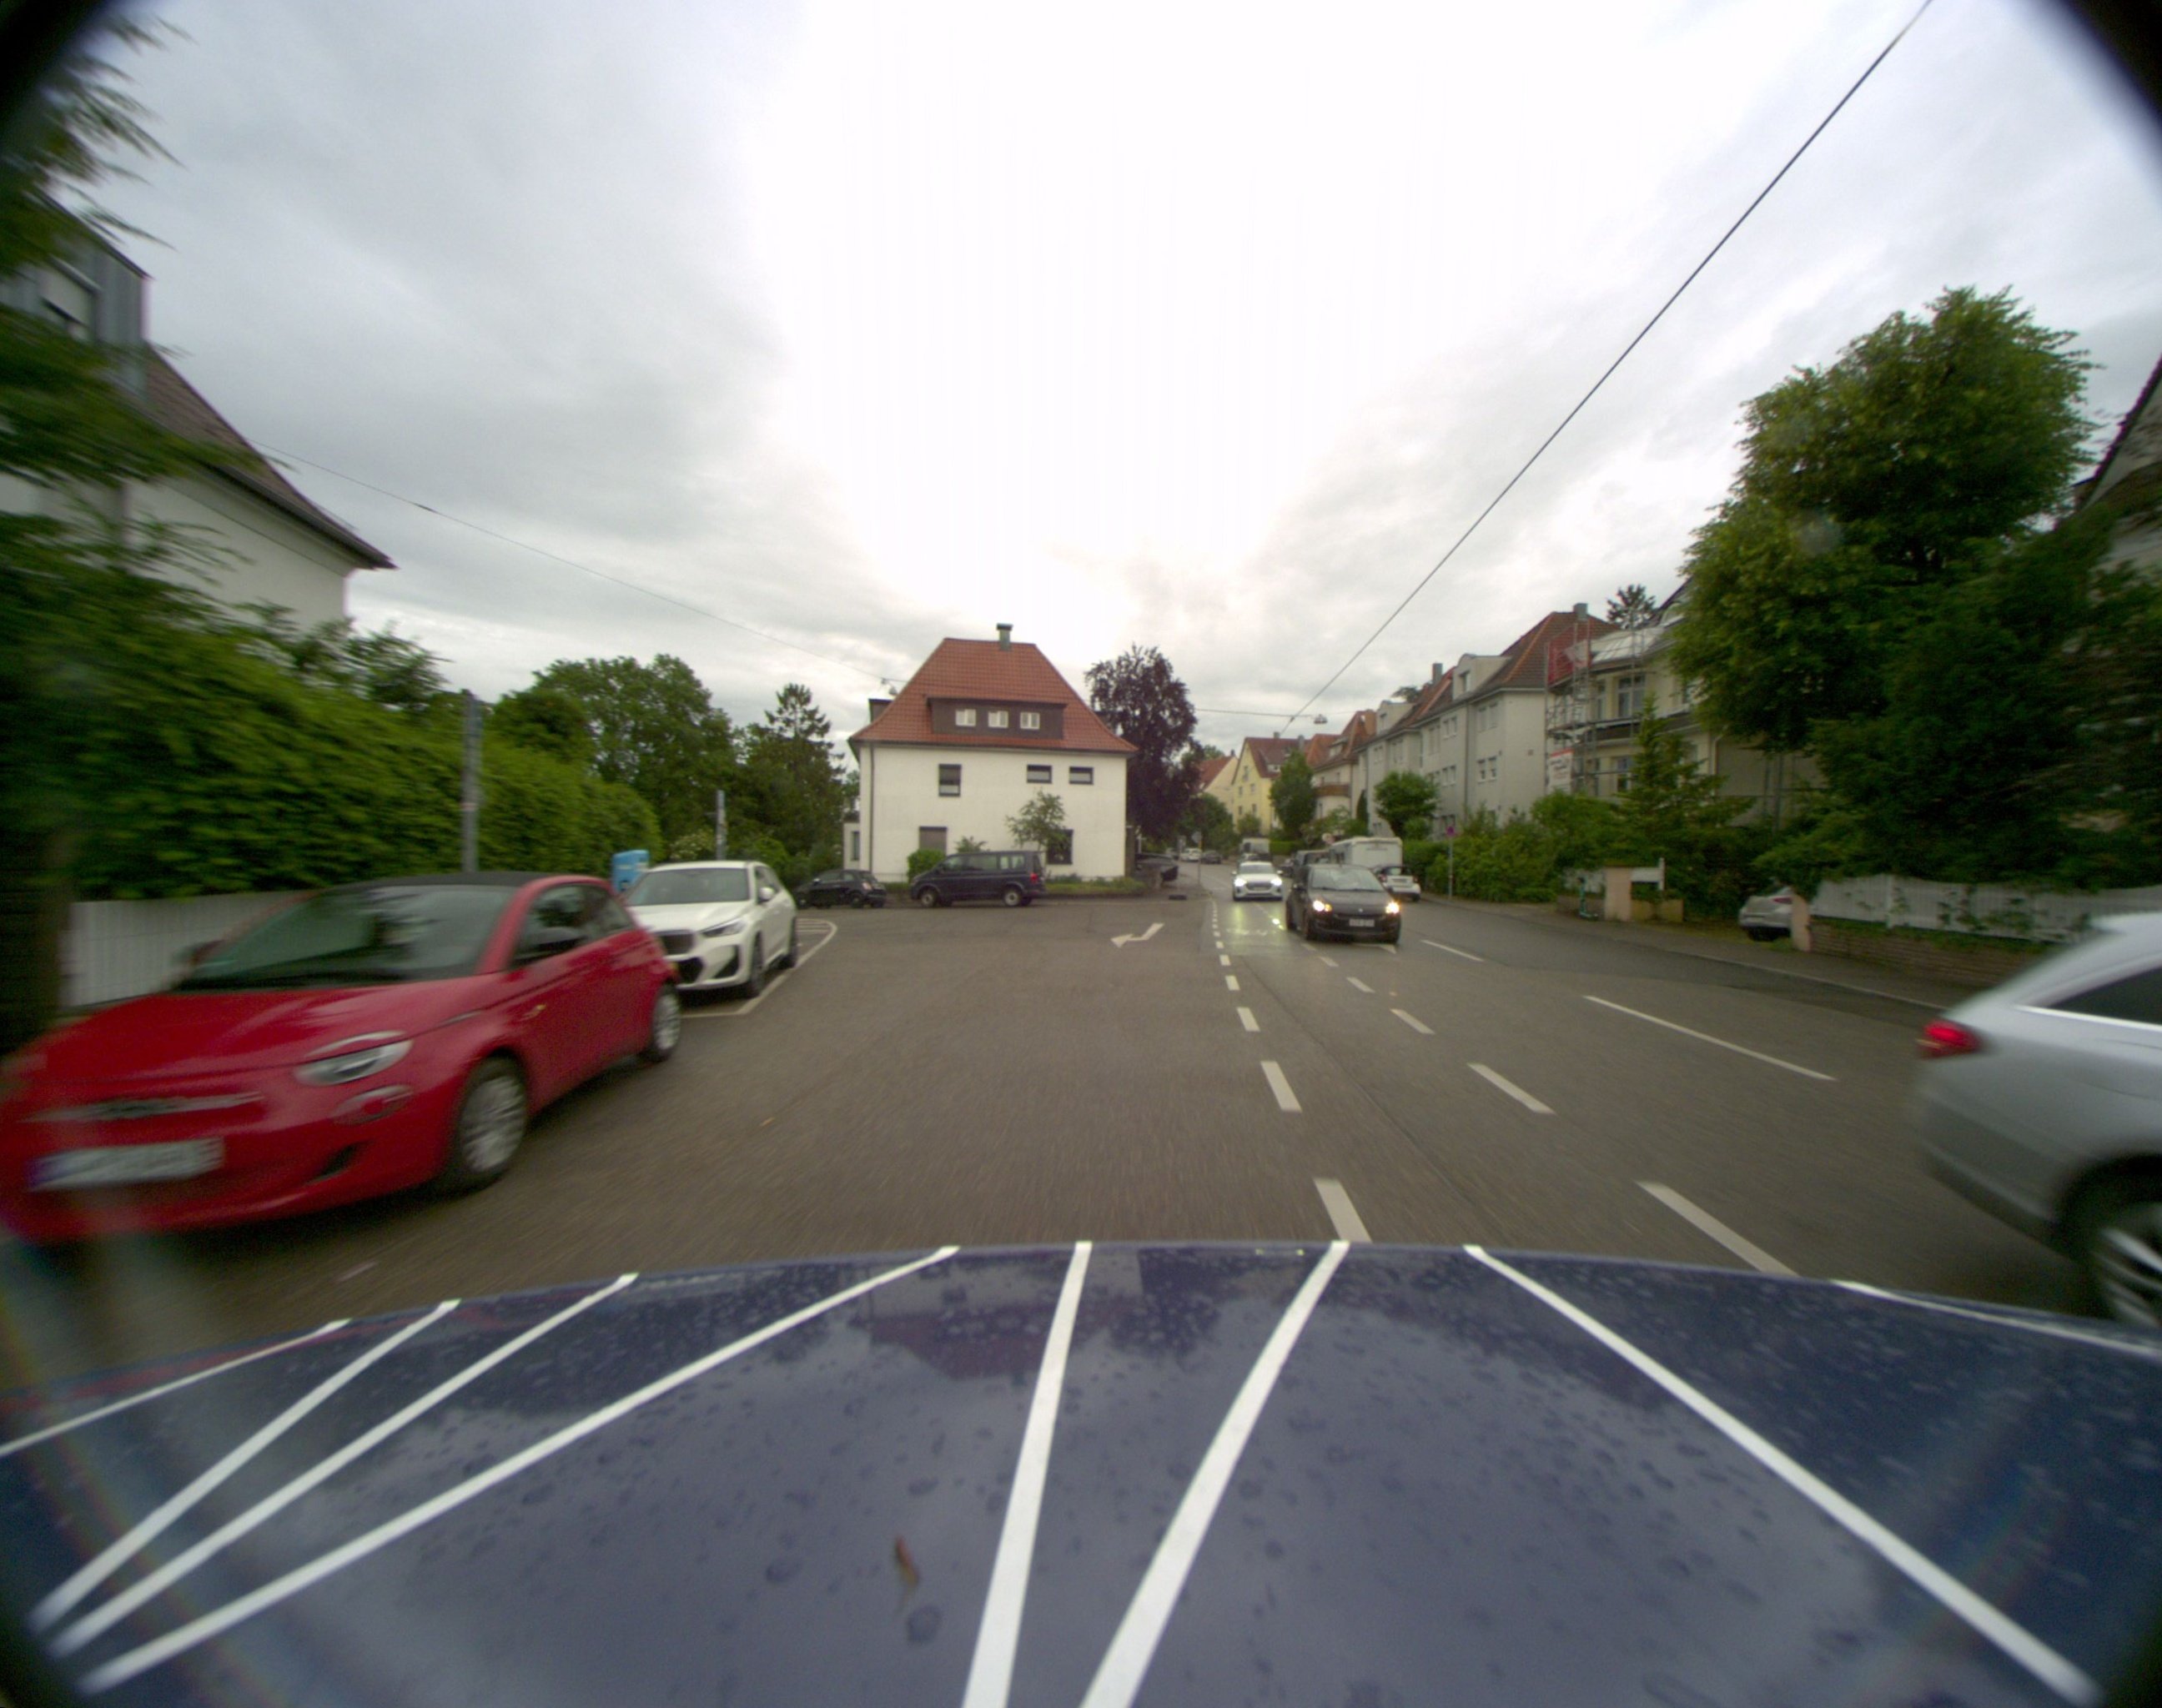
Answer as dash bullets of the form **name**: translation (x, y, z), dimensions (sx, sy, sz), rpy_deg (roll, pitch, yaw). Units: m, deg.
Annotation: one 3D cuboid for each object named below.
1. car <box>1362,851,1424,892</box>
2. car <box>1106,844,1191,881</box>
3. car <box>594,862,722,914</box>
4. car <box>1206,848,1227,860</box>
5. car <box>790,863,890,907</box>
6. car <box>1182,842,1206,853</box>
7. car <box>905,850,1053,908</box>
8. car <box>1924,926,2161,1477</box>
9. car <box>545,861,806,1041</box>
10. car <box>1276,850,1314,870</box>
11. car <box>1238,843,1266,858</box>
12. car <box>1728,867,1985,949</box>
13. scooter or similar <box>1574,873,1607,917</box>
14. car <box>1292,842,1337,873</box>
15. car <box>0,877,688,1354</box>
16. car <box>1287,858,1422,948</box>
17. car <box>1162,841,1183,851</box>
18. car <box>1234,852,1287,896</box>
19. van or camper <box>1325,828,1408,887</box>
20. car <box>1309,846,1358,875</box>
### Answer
- **car**: translation (13.235, 0.714, 32.429), dimensions (1.598, 1.586, 3.319), rpy_deg (0, 1, 7)
- **car**: translation (3.976, 0.460, 44.301), dimensions (4.739, 1.799, 1.943), rpy_deg (3, 1, 7)
- **car**: translation (-16.514, 1.301, 29.882), dimensions (4.001, 1.849, 1.769), rpy_deg (-1, 1, -13)
- **car**: translation (15.930, -0.002, 89.410), dimensions (1.679, 1.364, 3.439), rpy_deg (-1, 1, -1)
- **car**: translation (-8.937, 1.177, 28.276), dimensions (3.263, 1.431, 1.325), rpy_deg (-3, -4, 10)
- **car**: translation (14.592, -0.834, 98.130), dimensions (1.681, 1.364, 4.432), rpy_deg (2, 0, -9)
- **car**: translation (-3.598, 0.847, 27.208), dimensions (4.915, 1.937, 1.942), rpy_deg (0, 1, 10)
- **car**: translation (3.899, 0.979, 0.432), dimensions (1.998, 1.470, 4.487), rpy_deg (0, 0, 3)
- **car**: translation (-4.815, 0.962, 9.818), dimensions (1.750, 1.663, 4.642), rpy_deg (-2, 0, -13)
- **car**: translation (16.282, 0.435, 58.020), dimensions (1.679, 1.365, 4.510), rpy_deg (-1, 2, 2)
- **car**: translation (16.740, -0.339, 74.643), dimensions (1.680, 1.364, 3.438), rpy_deg (-1, 1, -5)
- **car**: translation (16.738, 1.121, 16.596), dimensions (3.586, 1.531, 1.711), rpy_deg (2, -1, 10)
- **scooter or similar**: translation (14.719, 1.173, 21.966), dimensions (0.402, 1.181, 1.142), rpy_deg (-1, 1, 13)
- **car**: translation (15.676, 0.191, 51.292), dimensions (1.836, 1.977, 4.581), rpy_deg (-1, 1, 3)
- **car**: translation (-3.793, 0.974, 4.437), dimensions (1.617, 1.528, 3.537), rpy_deg (-2, 0, -10)
- **car**: translation (5.252, 0.871, 15.069), dimensions (1.897, 1.456, 3.684), rpy_deg (-1, 1, 10)
- **car**: translation (13.004, -1.199, 108.058), dimensions (1.681, 1.364, 4.432), rpy_deg (-1, 1, -9)
- **car**: translation (7.554, 0.783, 32.223), dimensions (1.794, 1.689, 3.892), rpy_deg (-1, 1, 8)
- **van or camper**: translation (14.031, 0.088, 37.813), dimensions (2.352, 2.709, 6.118), rpy_deg (0, 1, 6)
- **car**: translation (14.787, 0.316, 44.797), dimensions (1.835, 1.586, 4.748), rpy_deg (0, 1, 7)
